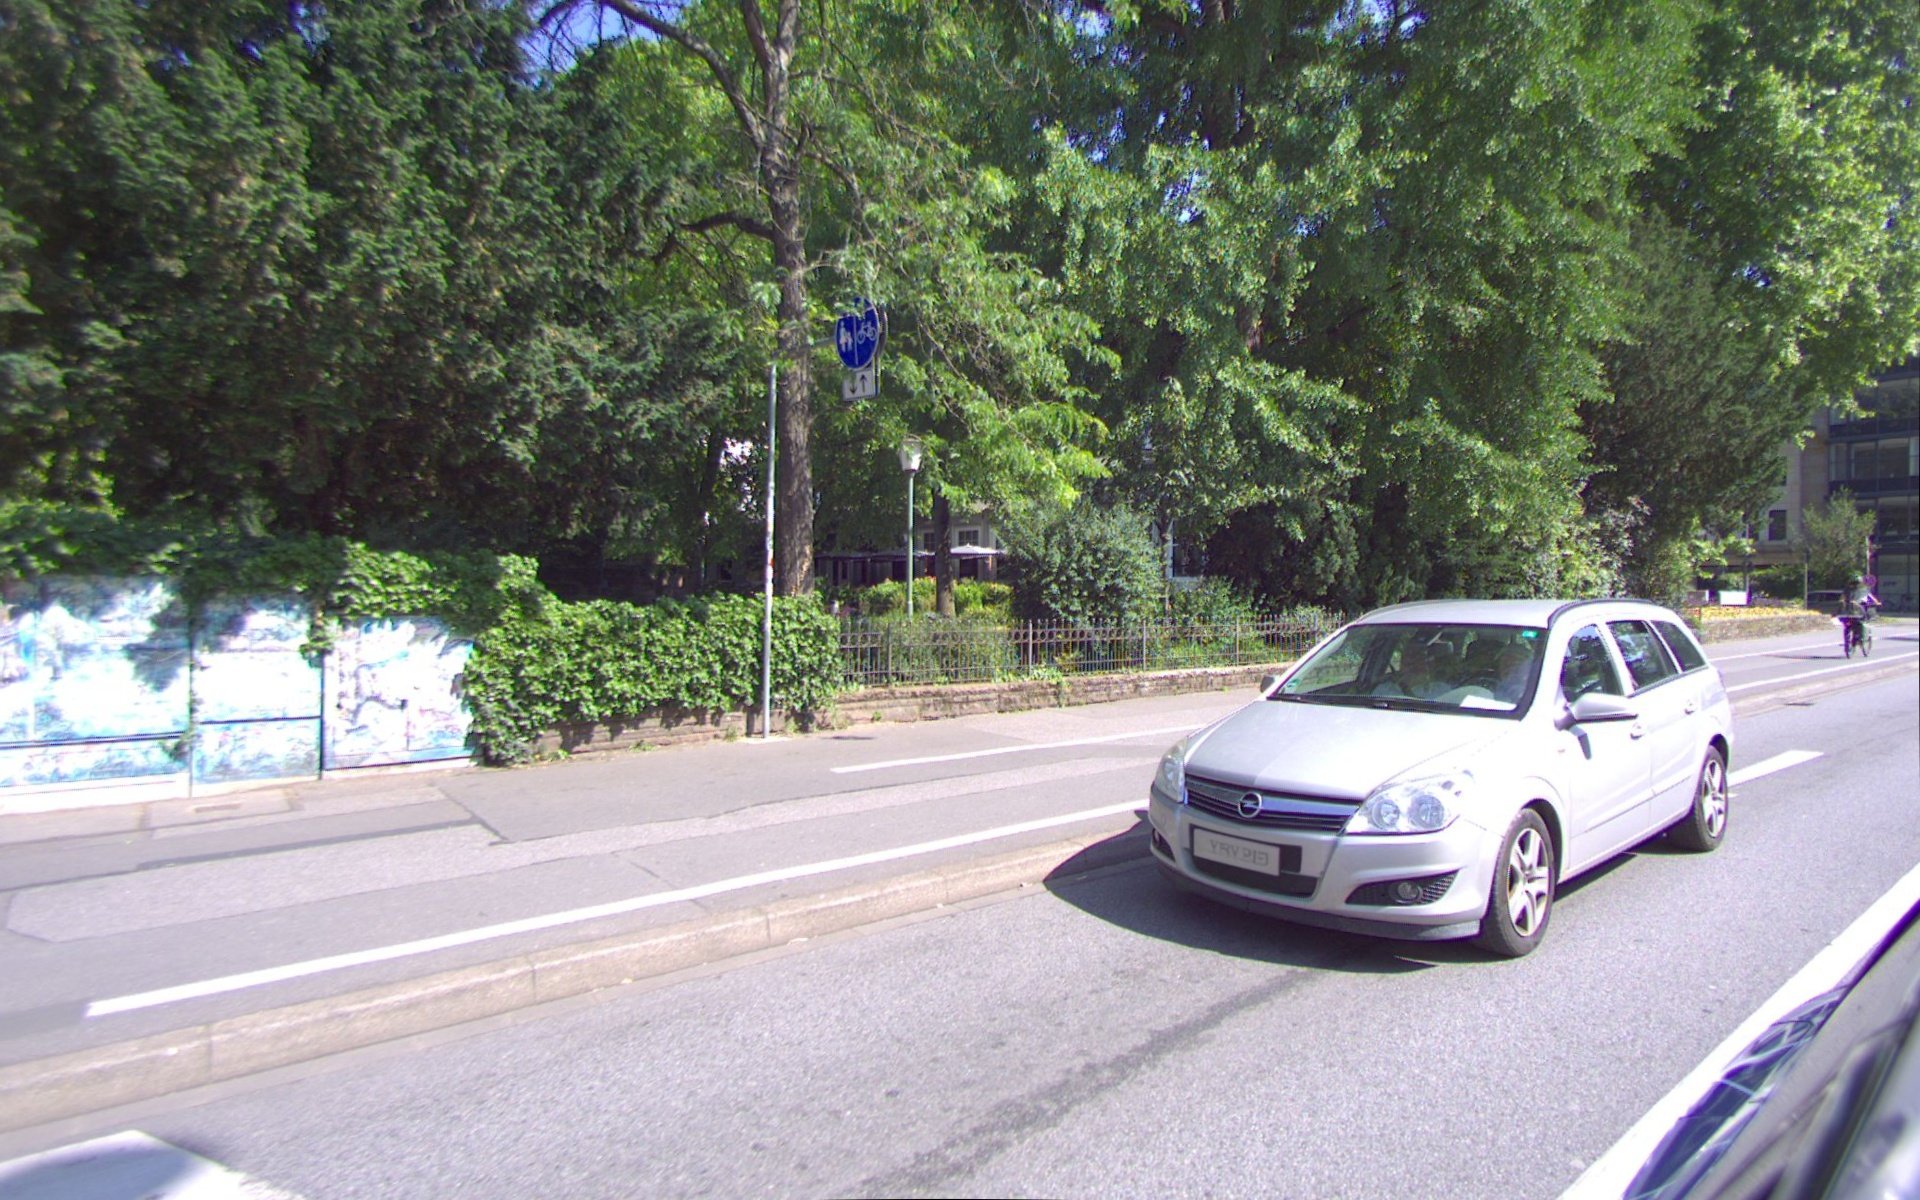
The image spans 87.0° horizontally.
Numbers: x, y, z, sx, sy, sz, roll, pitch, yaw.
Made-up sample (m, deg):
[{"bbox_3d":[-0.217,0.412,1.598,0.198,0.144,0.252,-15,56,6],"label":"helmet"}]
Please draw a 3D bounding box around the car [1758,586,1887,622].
[{"bbox_3d":[40.015,0.170,47.006,1.657,1.574,4.408,0,0,-43],"label":"car"}]

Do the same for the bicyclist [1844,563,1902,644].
[{"bbox_3d":[19.115,0.052,21.192,0.926,1.656,0.766,-1,1,-39],"label":"bicyclist"}]

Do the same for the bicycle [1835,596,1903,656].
[{"bbox_3d":[18.978,0.521,21.122,1.966,1.134,0.759,-2,2,-39],"label":"bicycle"}]

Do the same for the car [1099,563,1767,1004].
[{"bbox_3d":[2.860,0.650,5.606,4.328,1.541,1.710,0,0,-40],"label":"car"}]
